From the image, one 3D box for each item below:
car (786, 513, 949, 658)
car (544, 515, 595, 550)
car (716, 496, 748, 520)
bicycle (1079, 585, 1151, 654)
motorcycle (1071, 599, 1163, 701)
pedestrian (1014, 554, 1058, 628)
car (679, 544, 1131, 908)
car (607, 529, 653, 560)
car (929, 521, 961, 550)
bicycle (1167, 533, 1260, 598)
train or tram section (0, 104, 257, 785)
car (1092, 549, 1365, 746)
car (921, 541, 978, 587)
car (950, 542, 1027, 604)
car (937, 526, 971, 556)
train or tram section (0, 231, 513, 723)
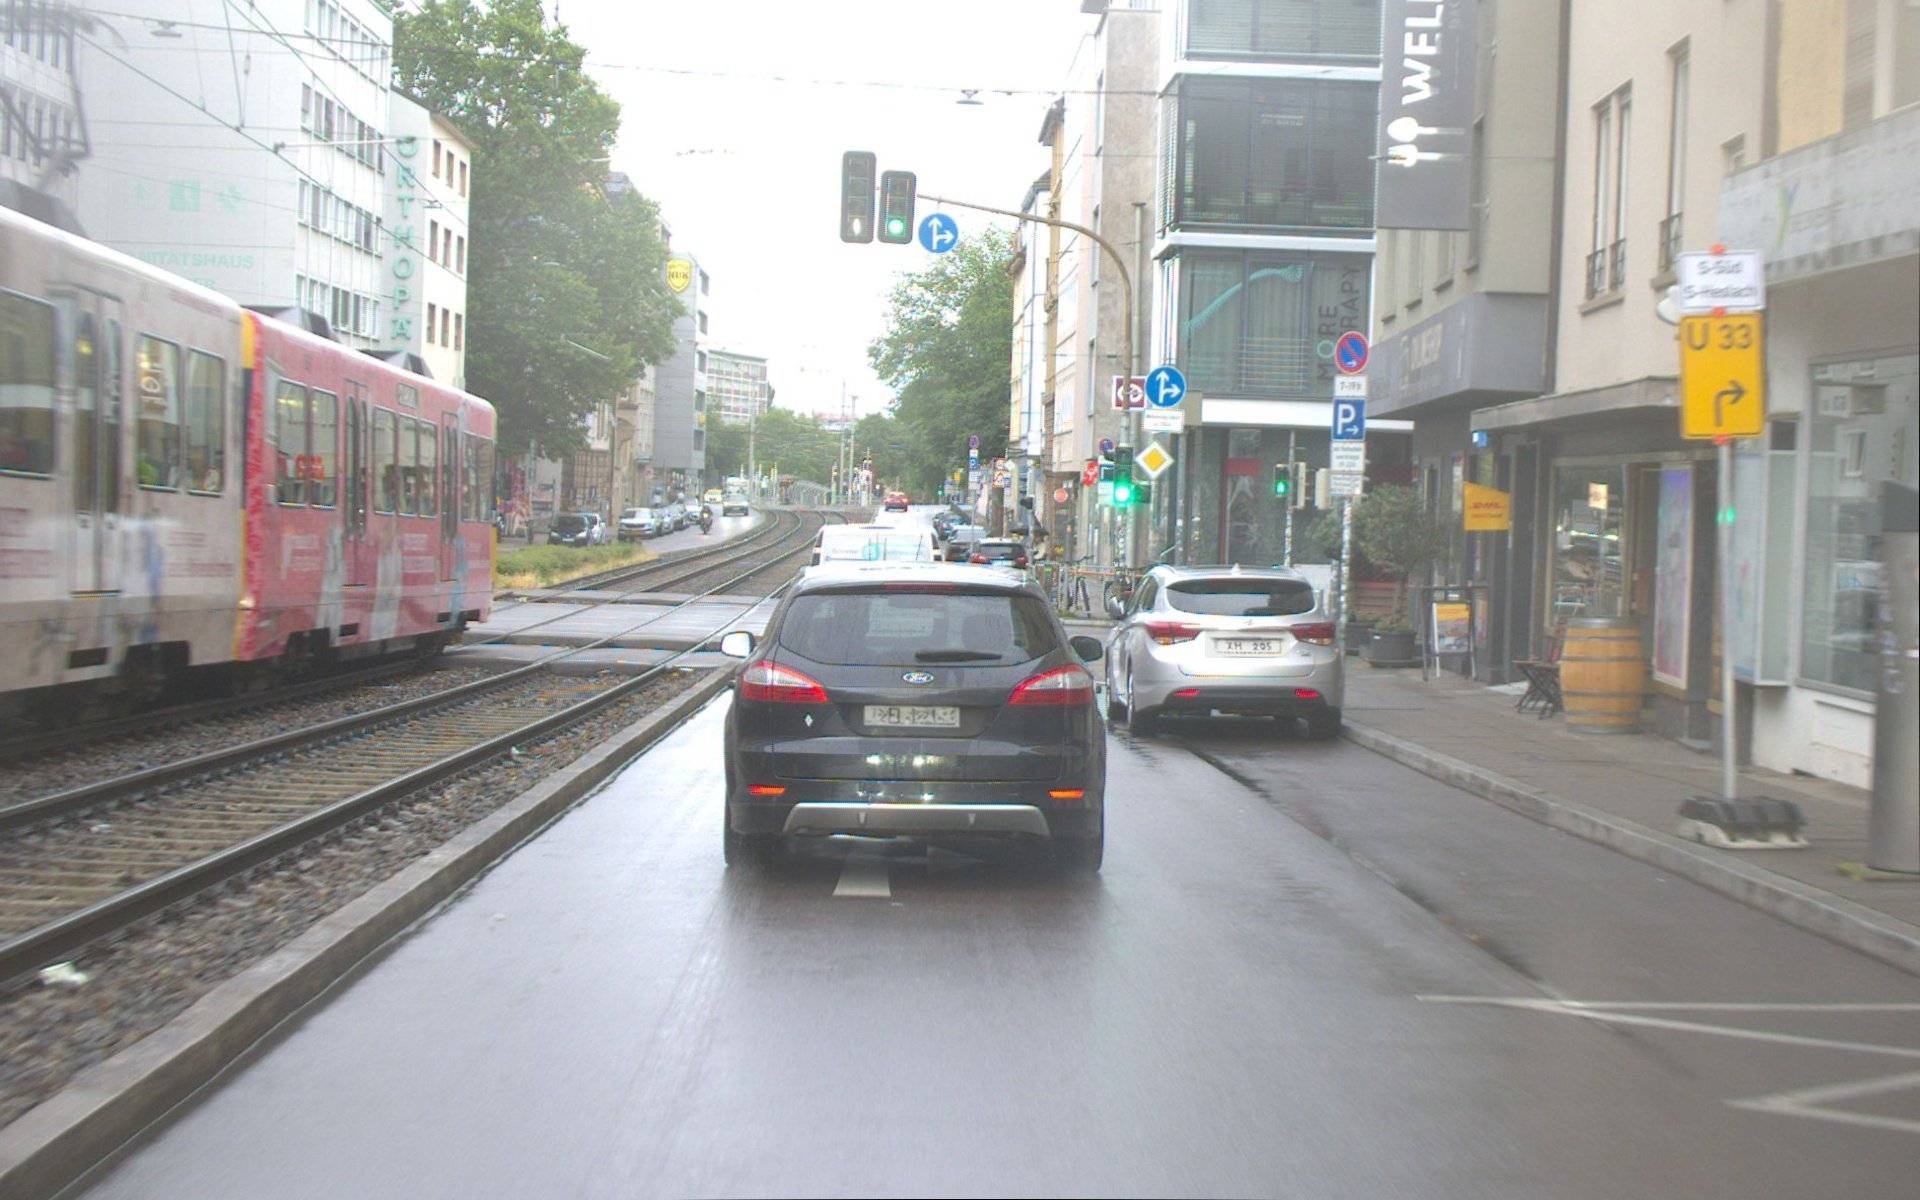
[{"bbox_3d":[-1.186,-0.214,46.120,1.993,1.810,4.271,1,1,1],"label":"car"},{"bbox_3d":[-16.652,-2.885,146.621,1.744,1.463,4.220,1,1,-1],"label":"car"},{"bbox_3d":[-16.437,-6.666,248.187,1.993,1.514,4.444,3,0,-1],"label":"car"},{"bbox_3d":[3.012,0.371,66.878,0.497,1.254,1.957,2,1,-25],"label":"bicycle"},{"bbox_3d":[2.302,0.724,50.354,1.129,1.456,0.684,1,1,-37],"label":"motorcycle"},{"bbox_3d":[1.653,-0.197,74.803,0.659,1.577,0.780,1,1,-23],"label":"pedestrian"},{"bbox_3d":[-0.265,0.542,17.551,1.993,1.588,4.271,1,1,0],"label":"car"},{"bbox_3d":[-17.200,-2.893,179.104,1.993,1.514,4.436,2,1,-1],"label":"car"},{"bbox_3d":[-0.834,-3.606,192.426,1.642,1.510,4.039,2,2,-2],"label":"car"},{"bbox_3d":[4.805,-0.661,65.224,0.576,1.153,1.956,2,1,-37],"label":"bicycle"},{"bbox_3d":[-7.138,-0.932,19.242,2.902,4.036,18.413,1,0,-1],"label":"train or tram section"},{"bbox_3d":[2.321,0.368,30.894,2.024,1.588,4.621,1,1,-1],"label":"car"},{"bbox_3d":[-0.377,-1.317,124.577,1.993,1.588,4.572,1,1,-1],"label":"car"},{"bbox_3d":[0.746,-0.742,92.980,1.993,1.588,4.271,1,1,0],"label":"car"},{"bbox_3d":[-0.334,-3.211,187.482,1.738,1.484,4.001,2,2,-2],"label":"car"},{"bbox_3d":[-7.469,-1.085,37.917,2.902,4.036,18.769,1,0,-1],"label":"train or tram section"}]
